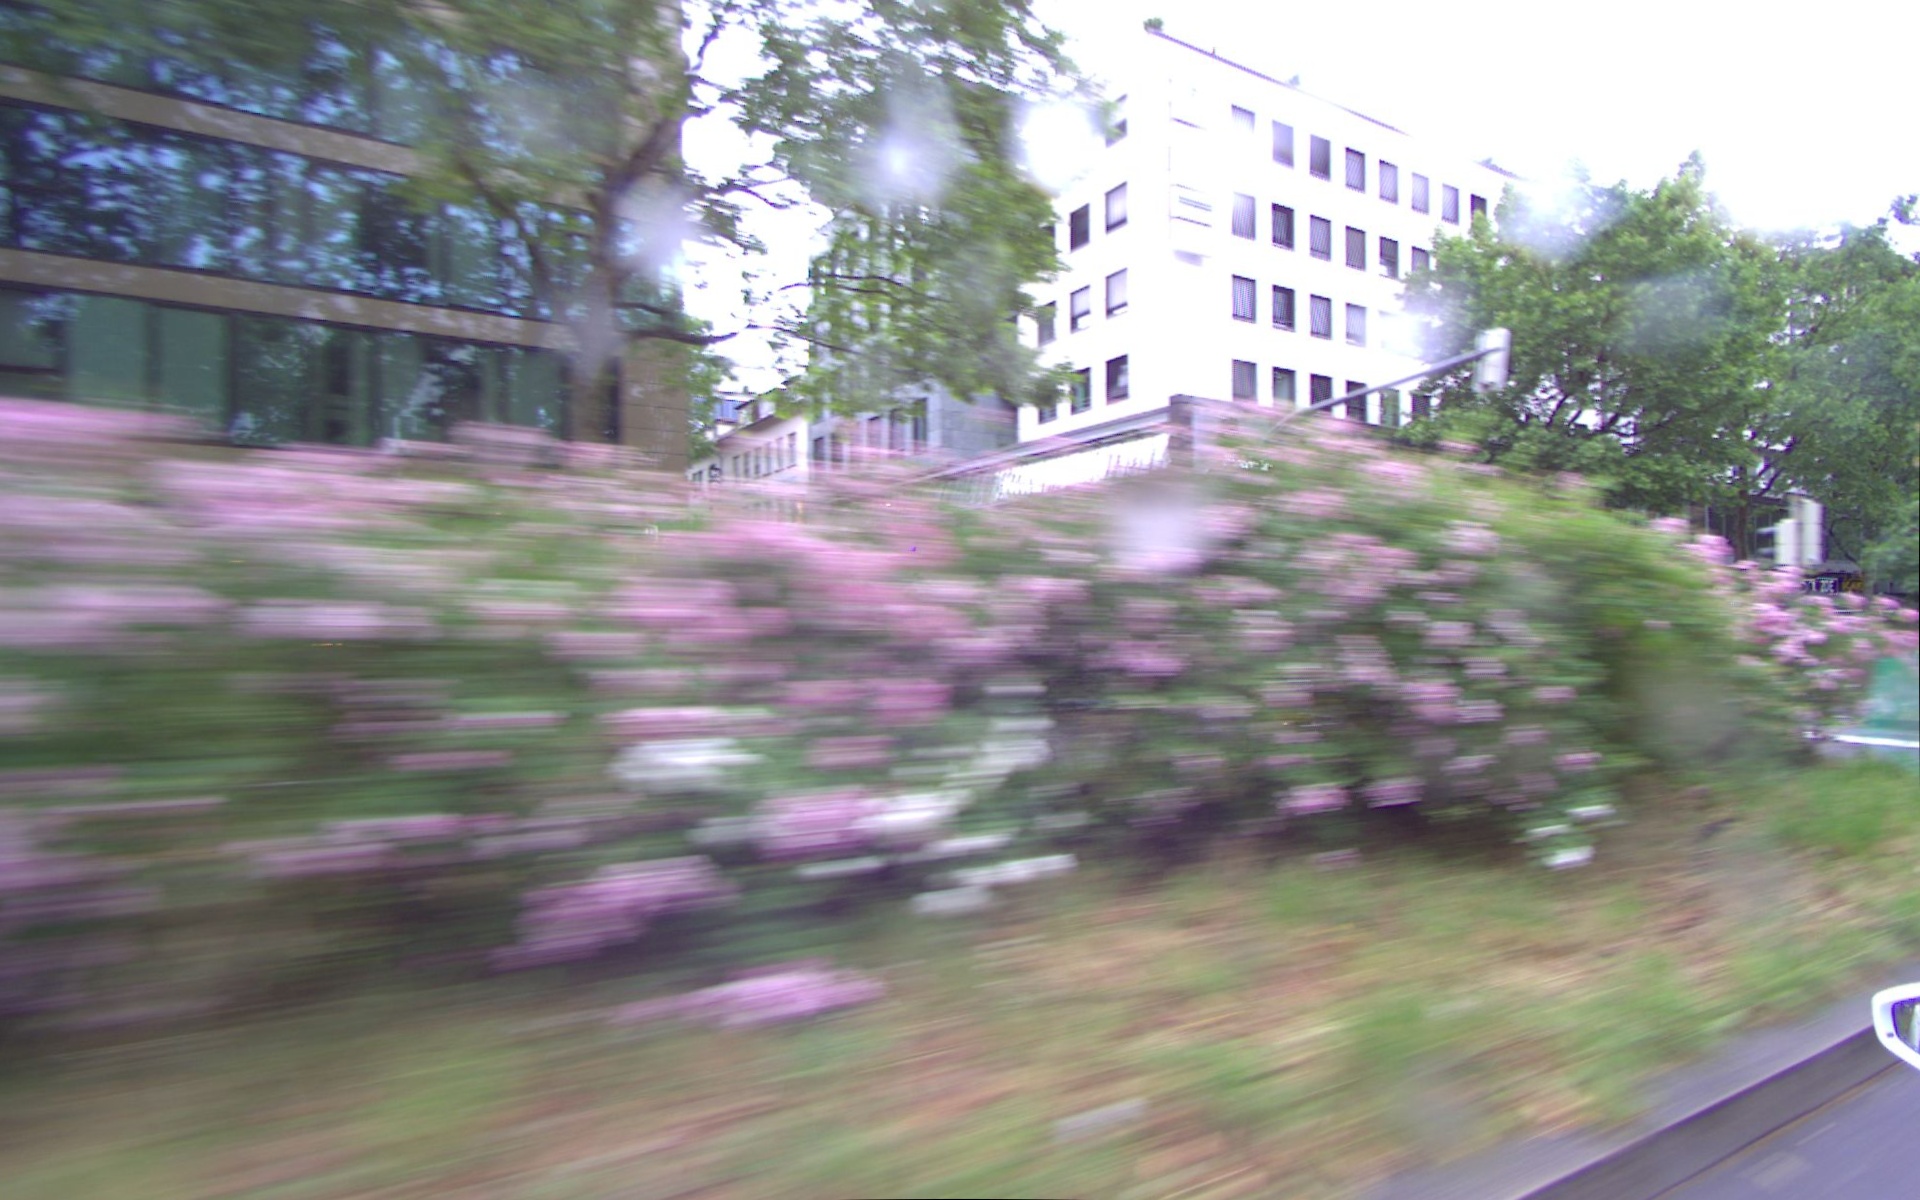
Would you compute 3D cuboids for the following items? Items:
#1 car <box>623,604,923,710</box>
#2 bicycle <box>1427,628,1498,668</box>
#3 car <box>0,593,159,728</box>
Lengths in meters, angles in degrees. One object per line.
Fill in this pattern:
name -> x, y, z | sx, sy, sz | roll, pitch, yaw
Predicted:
car -> -3.031, 0.878, 16.551 | 4.469, 1.529, 1.982 | 1, -1, -33
bicycle -> 14.782, 1.395, 29.591 | 0.561, 1.112, 1.808 | 1, -1, -37
car -> -11.879, 0.635, 11.068 | 4.486, 1.388, 1.984 | 1, 1, -30
